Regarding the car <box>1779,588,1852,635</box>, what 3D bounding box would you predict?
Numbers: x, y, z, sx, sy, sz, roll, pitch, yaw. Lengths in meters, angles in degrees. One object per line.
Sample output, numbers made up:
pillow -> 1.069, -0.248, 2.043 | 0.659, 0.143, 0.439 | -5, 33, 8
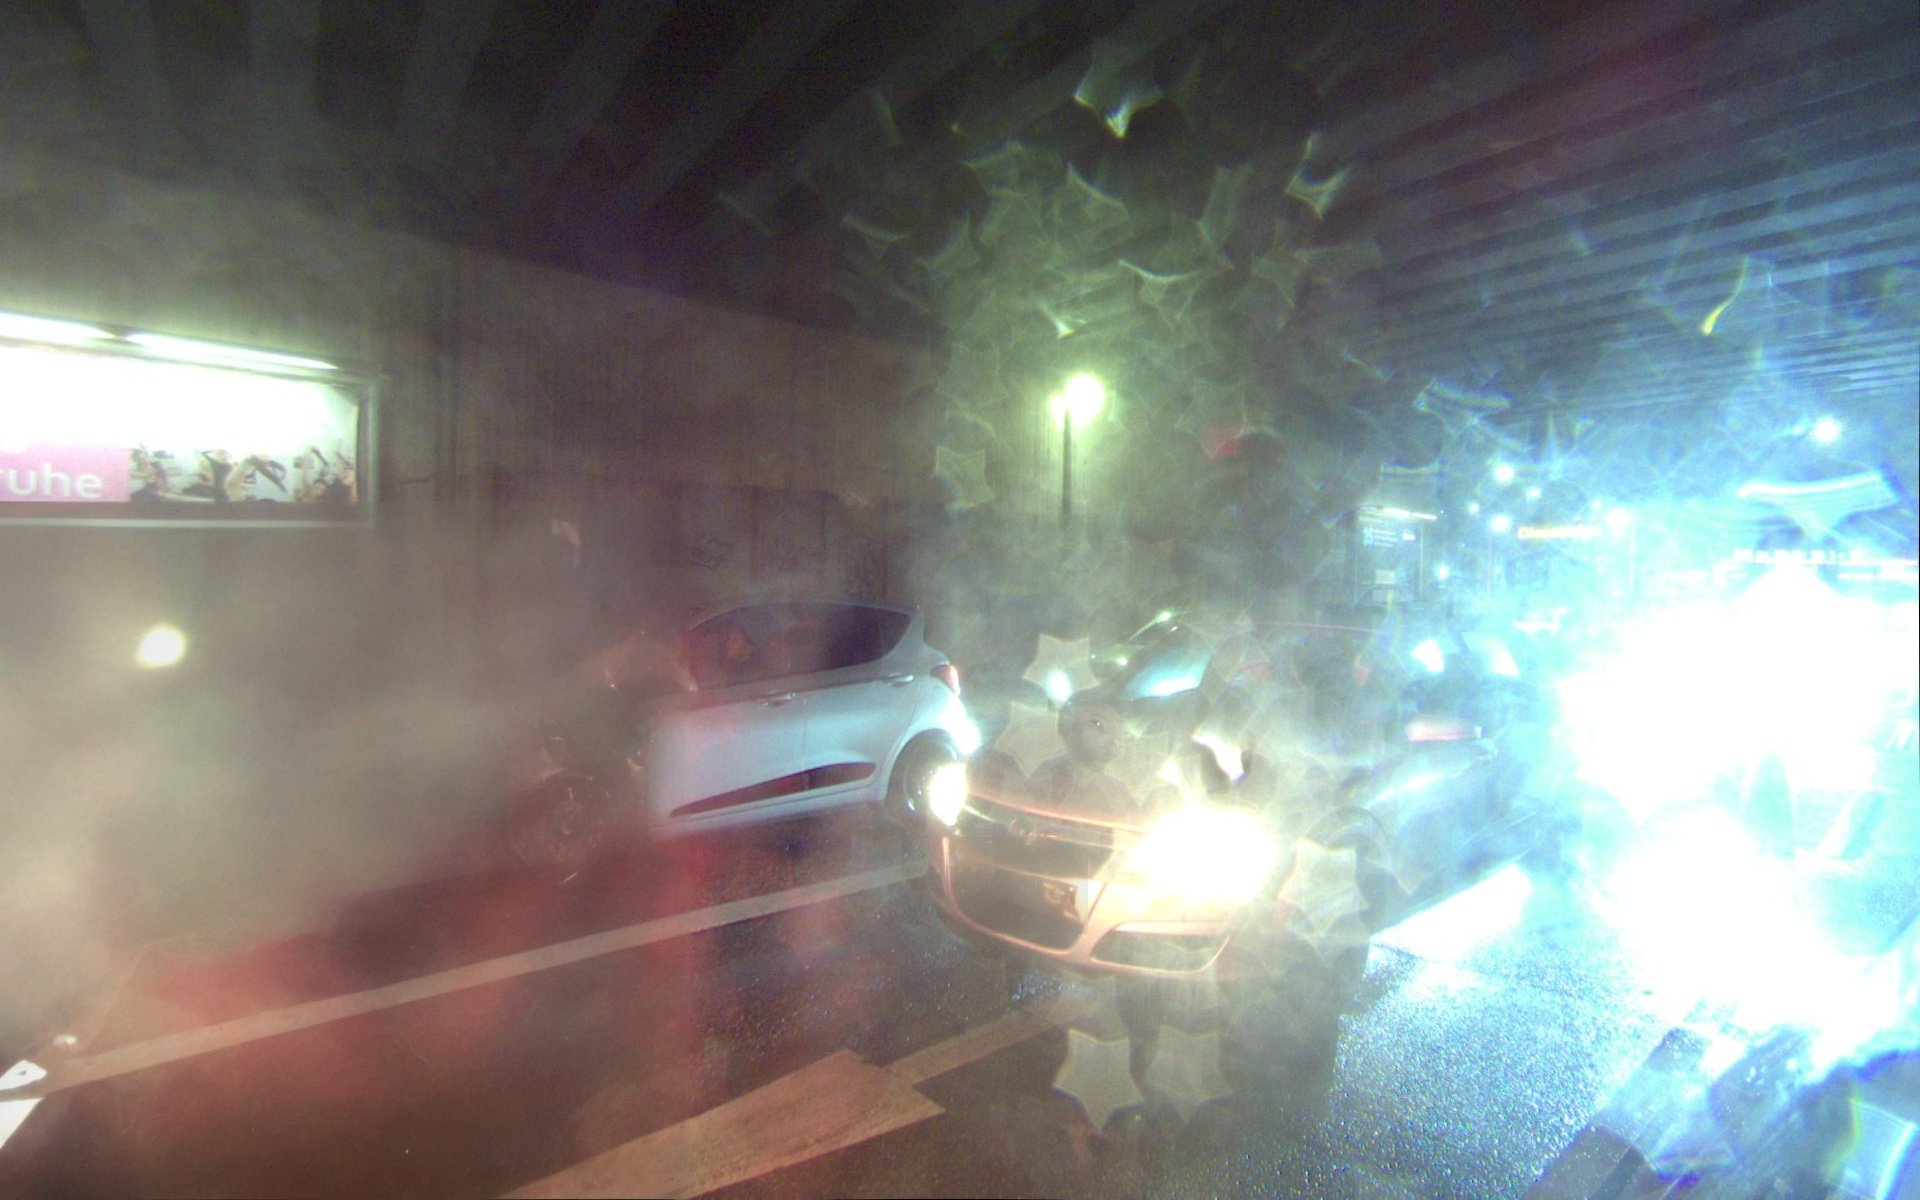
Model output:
car -> 30.313, 0.366, 35.957 | 1.690, 1.481, 3.921 | 3, 3, 37

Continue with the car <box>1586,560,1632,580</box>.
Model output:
car -> 46.353, -2.139, 72.355 | 1.685, 1.407, 3.979 | 0, 1, 17

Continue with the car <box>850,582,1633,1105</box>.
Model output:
car -> 1.633, 0.654, 4.872 | 4.091, 1.464, 1.723 | -1, 1, -42

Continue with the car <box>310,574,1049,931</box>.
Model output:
car -> -1.486, 0.606, 6.283 | 4.091, 1.464, 1.723 | -1, 3, -42

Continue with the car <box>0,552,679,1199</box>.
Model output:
car -> -2.674, 0.668, 1.005 | 4.308, 1.464, 1.723 | -1, 3, -42

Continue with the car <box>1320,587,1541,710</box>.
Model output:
car -> 7.118, 0.605, 15.112 | 1.721, 1.505, 4.096 | 3, 3, 44

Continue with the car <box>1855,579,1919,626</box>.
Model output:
car -> 36.476, 0.049, 39.809 | 1.717, 1.725, 3.916 | 3, 3, 40

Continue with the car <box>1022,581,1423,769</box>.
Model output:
car -> 2.900, 0.579, 10.480 | 4.705, 1.505, 1.723 | -1, 2, -42

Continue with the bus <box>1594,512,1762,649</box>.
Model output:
bus -> 20.540, -0.549, 28.646 | 2.733, 3.278, 9.551 | 1, 1, 43

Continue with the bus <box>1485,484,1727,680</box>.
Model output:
bus -> 14.107, -0.400, 21.610 | 2.733, 3.318, 9.551 | 1, 1, 43

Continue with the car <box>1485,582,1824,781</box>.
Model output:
car -> 6.749, 0.622, 9.662 | 4.091, 1.506, 1.722 | -1, -2, -42
